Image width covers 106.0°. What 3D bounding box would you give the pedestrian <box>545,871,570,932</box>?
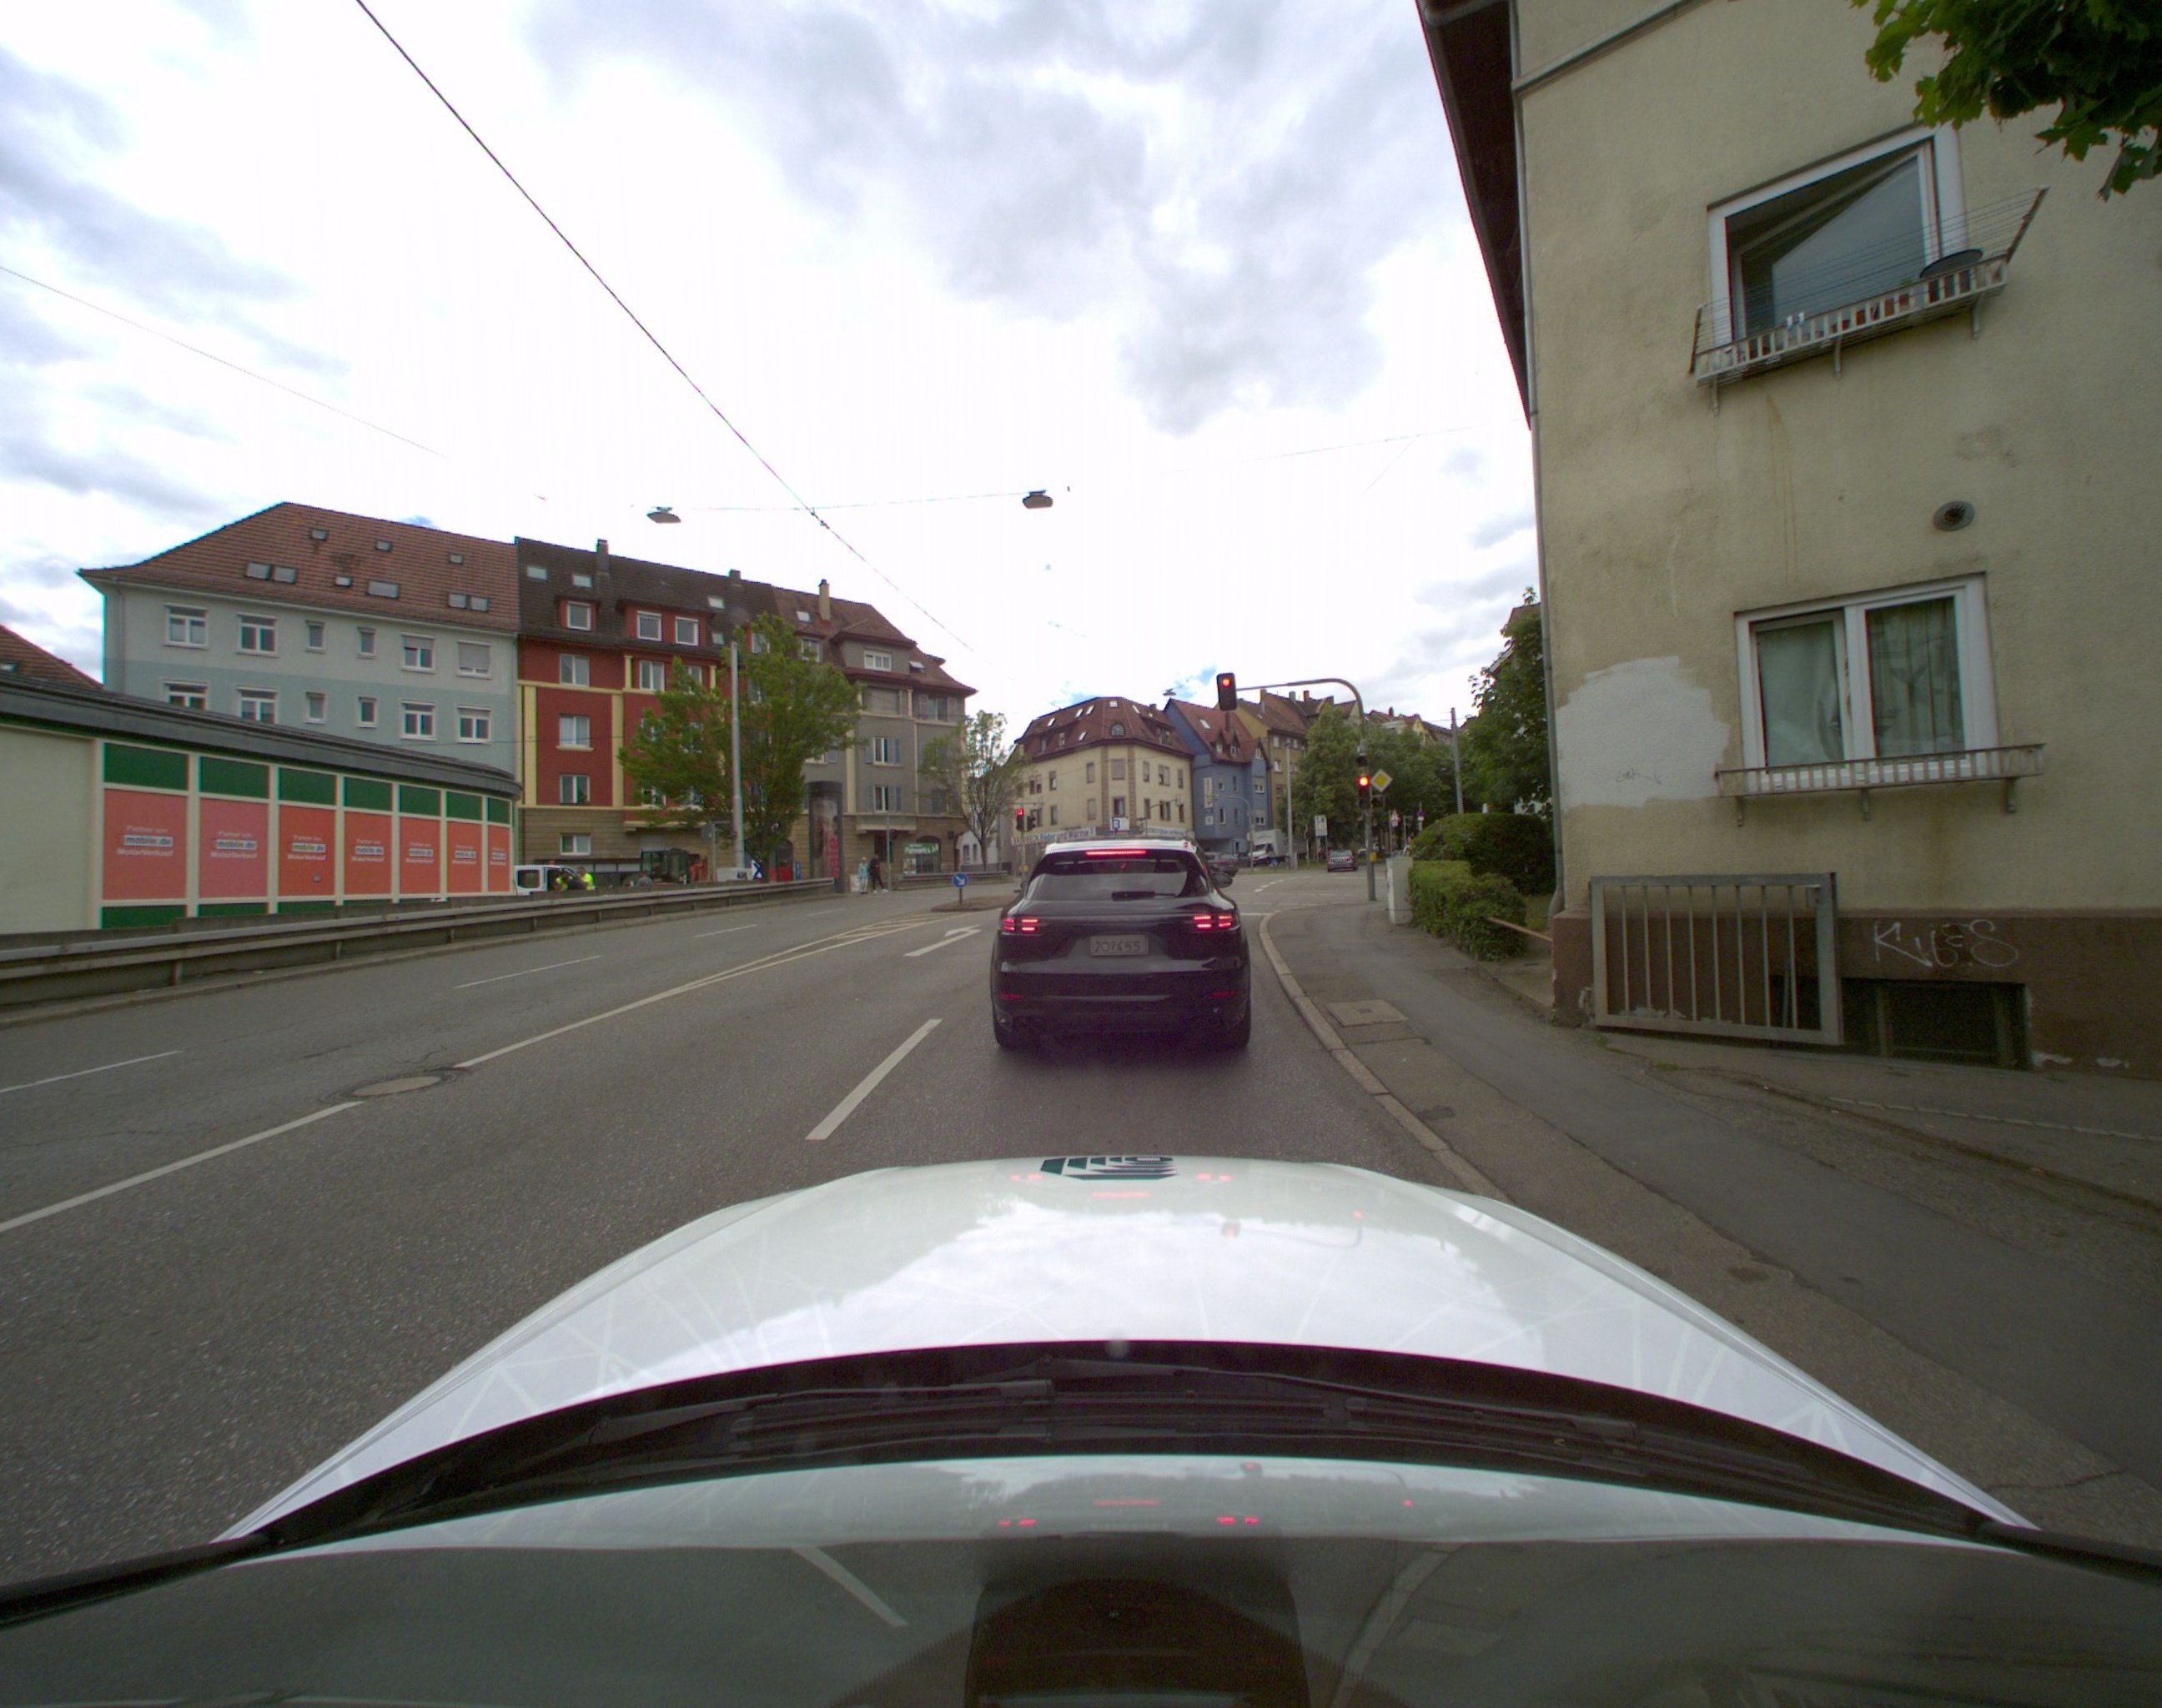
[{"bbox_3d":[-15.231,1.370,23.707,0.479,1.730,0.536,1,-1,-44],"label":"pedestrian"}]

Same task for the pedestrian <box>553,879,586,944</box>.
[{"bbox_3d":[-13.711,1.521,21.839,0.562,1.700,0.541,1,-1,-10],"label":"pedestrian"}]

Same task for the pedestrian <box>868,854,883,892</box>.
[{"bbox_3d":[-9.497,0.890,37.677,0.511,1.730,0.451,1,-1,4],"label":"pedestrian"}]

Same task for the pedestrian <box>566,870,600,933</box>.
[{"bbox_3d":[-14.296,1.338,23.374,0.565,1.761,0.622,0,-1,37],"label":"pedestrian"}]

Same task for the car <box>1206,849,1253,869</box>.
[{"bbox_3d":[12.984,0.455,71.184,4.021,1.684,1.976,-1,-1,-41],"label":"car"}]

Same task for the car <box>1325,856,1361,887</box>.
[{"bbox_3d":[17.388,1.154,53.931,1.976,2.014,4.020,0,-1,21],"label":"car"}]

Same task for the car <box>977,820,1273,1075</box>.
[{"bbox_3d":[0.276,0.611,7.523,1.973,1.684,3.998,-1,0,-1],"label":"car"}]

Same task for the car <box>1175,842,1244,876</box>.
[{"bbox_3d":[7.994,0.328,50.874,2.010,2.014,3.953,1,-1,-41],"label":"car"}]

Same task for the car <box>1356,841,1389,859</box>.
[{"bbox_3d":[33.133,-0.426,92.610,1.975,2.014,4.023,0,-1,45],"label":"car"}]

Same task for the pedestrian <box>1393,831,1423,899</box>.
[{"bbox_3d":[8.776,0.293,21.856,0.587,1.819,0.529,1,-1,1],"label":"pedestrian"}]

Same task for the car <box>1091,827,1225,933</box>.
[{"bbox_3d":[1.577,0.433,15.150,1.980,1.684,4.014,-1,0,12],"label":"car"}]

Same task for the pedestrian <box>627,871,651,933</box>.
[{"bbox_3d":[-12.599,1.356,23.202,0.545,1.730,0.587,1,-1,-33],"label":"pedestrian"}]

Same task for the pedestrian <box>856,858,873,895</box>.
[{"bbox_3d":[-9.377,0.965,35.325,0.587,1.567,0.486,1,-1,1],"label":"pedestrian"}]

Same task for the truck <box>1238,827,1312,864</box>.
[{"bbox_3d":[18.774,-0.760,78.325,2.846,3.340,8.846,0,0,43],"label":"truck"}]

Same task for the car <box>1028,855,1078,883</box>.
[{"bbox_3d":[-1.655,0.899,49.365,1.875,1.579,3.985,-2,-1,15],"label":"car"}]

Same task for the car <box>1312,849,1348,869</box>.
[{"bbox_3d":[26.209,0.515,85.732,1.975,2.014,4.023,0,-1,45],"label":"car"}]

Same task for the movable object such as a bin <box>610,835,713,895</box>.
[{"bbox_3d":[-13.401,0.334,26.290,1.903,1.771,3.984,1,0,-11],"label":"movable object such as a bin"}]
